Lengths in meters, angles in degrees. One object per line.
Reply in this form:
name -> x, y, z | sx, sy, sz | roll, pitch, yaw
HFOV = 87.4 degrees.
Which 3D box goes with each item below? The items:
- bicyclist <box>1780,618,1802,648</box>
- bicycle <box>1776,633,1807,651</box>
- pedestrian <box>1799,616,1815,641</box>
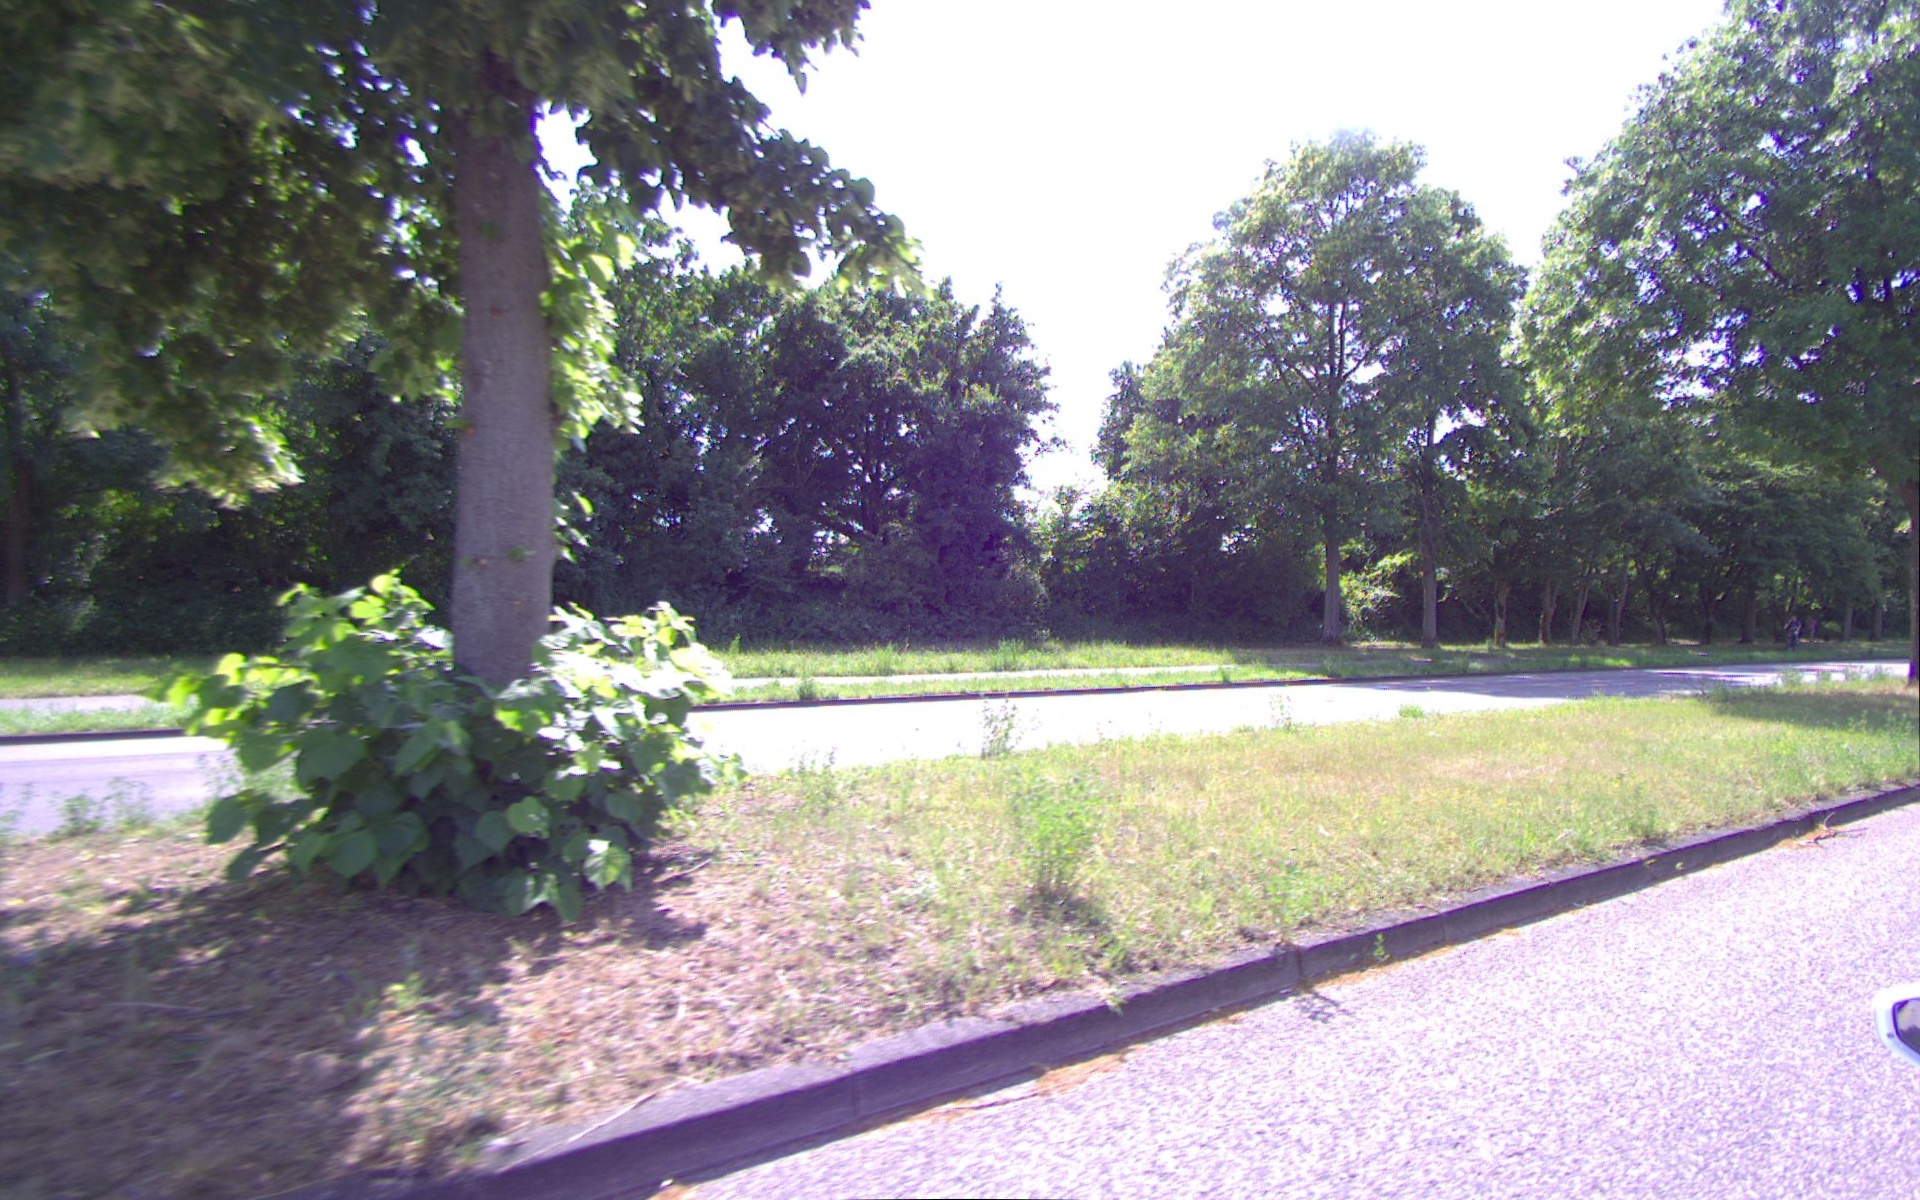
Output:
bicyclist -> 41.394, 1.649, 50.020 | 0.721, 1.467, 0.615 | 1, 0, -30
bicycle -> 41.430, 2.090, 50.046 | 1.892, 0.890, 0.615 | 1, 0, -31
pedestrian -> 57.778, 1.923, 68.533 | 0.649, 1.652, 0.640 | 1, 1, -32
